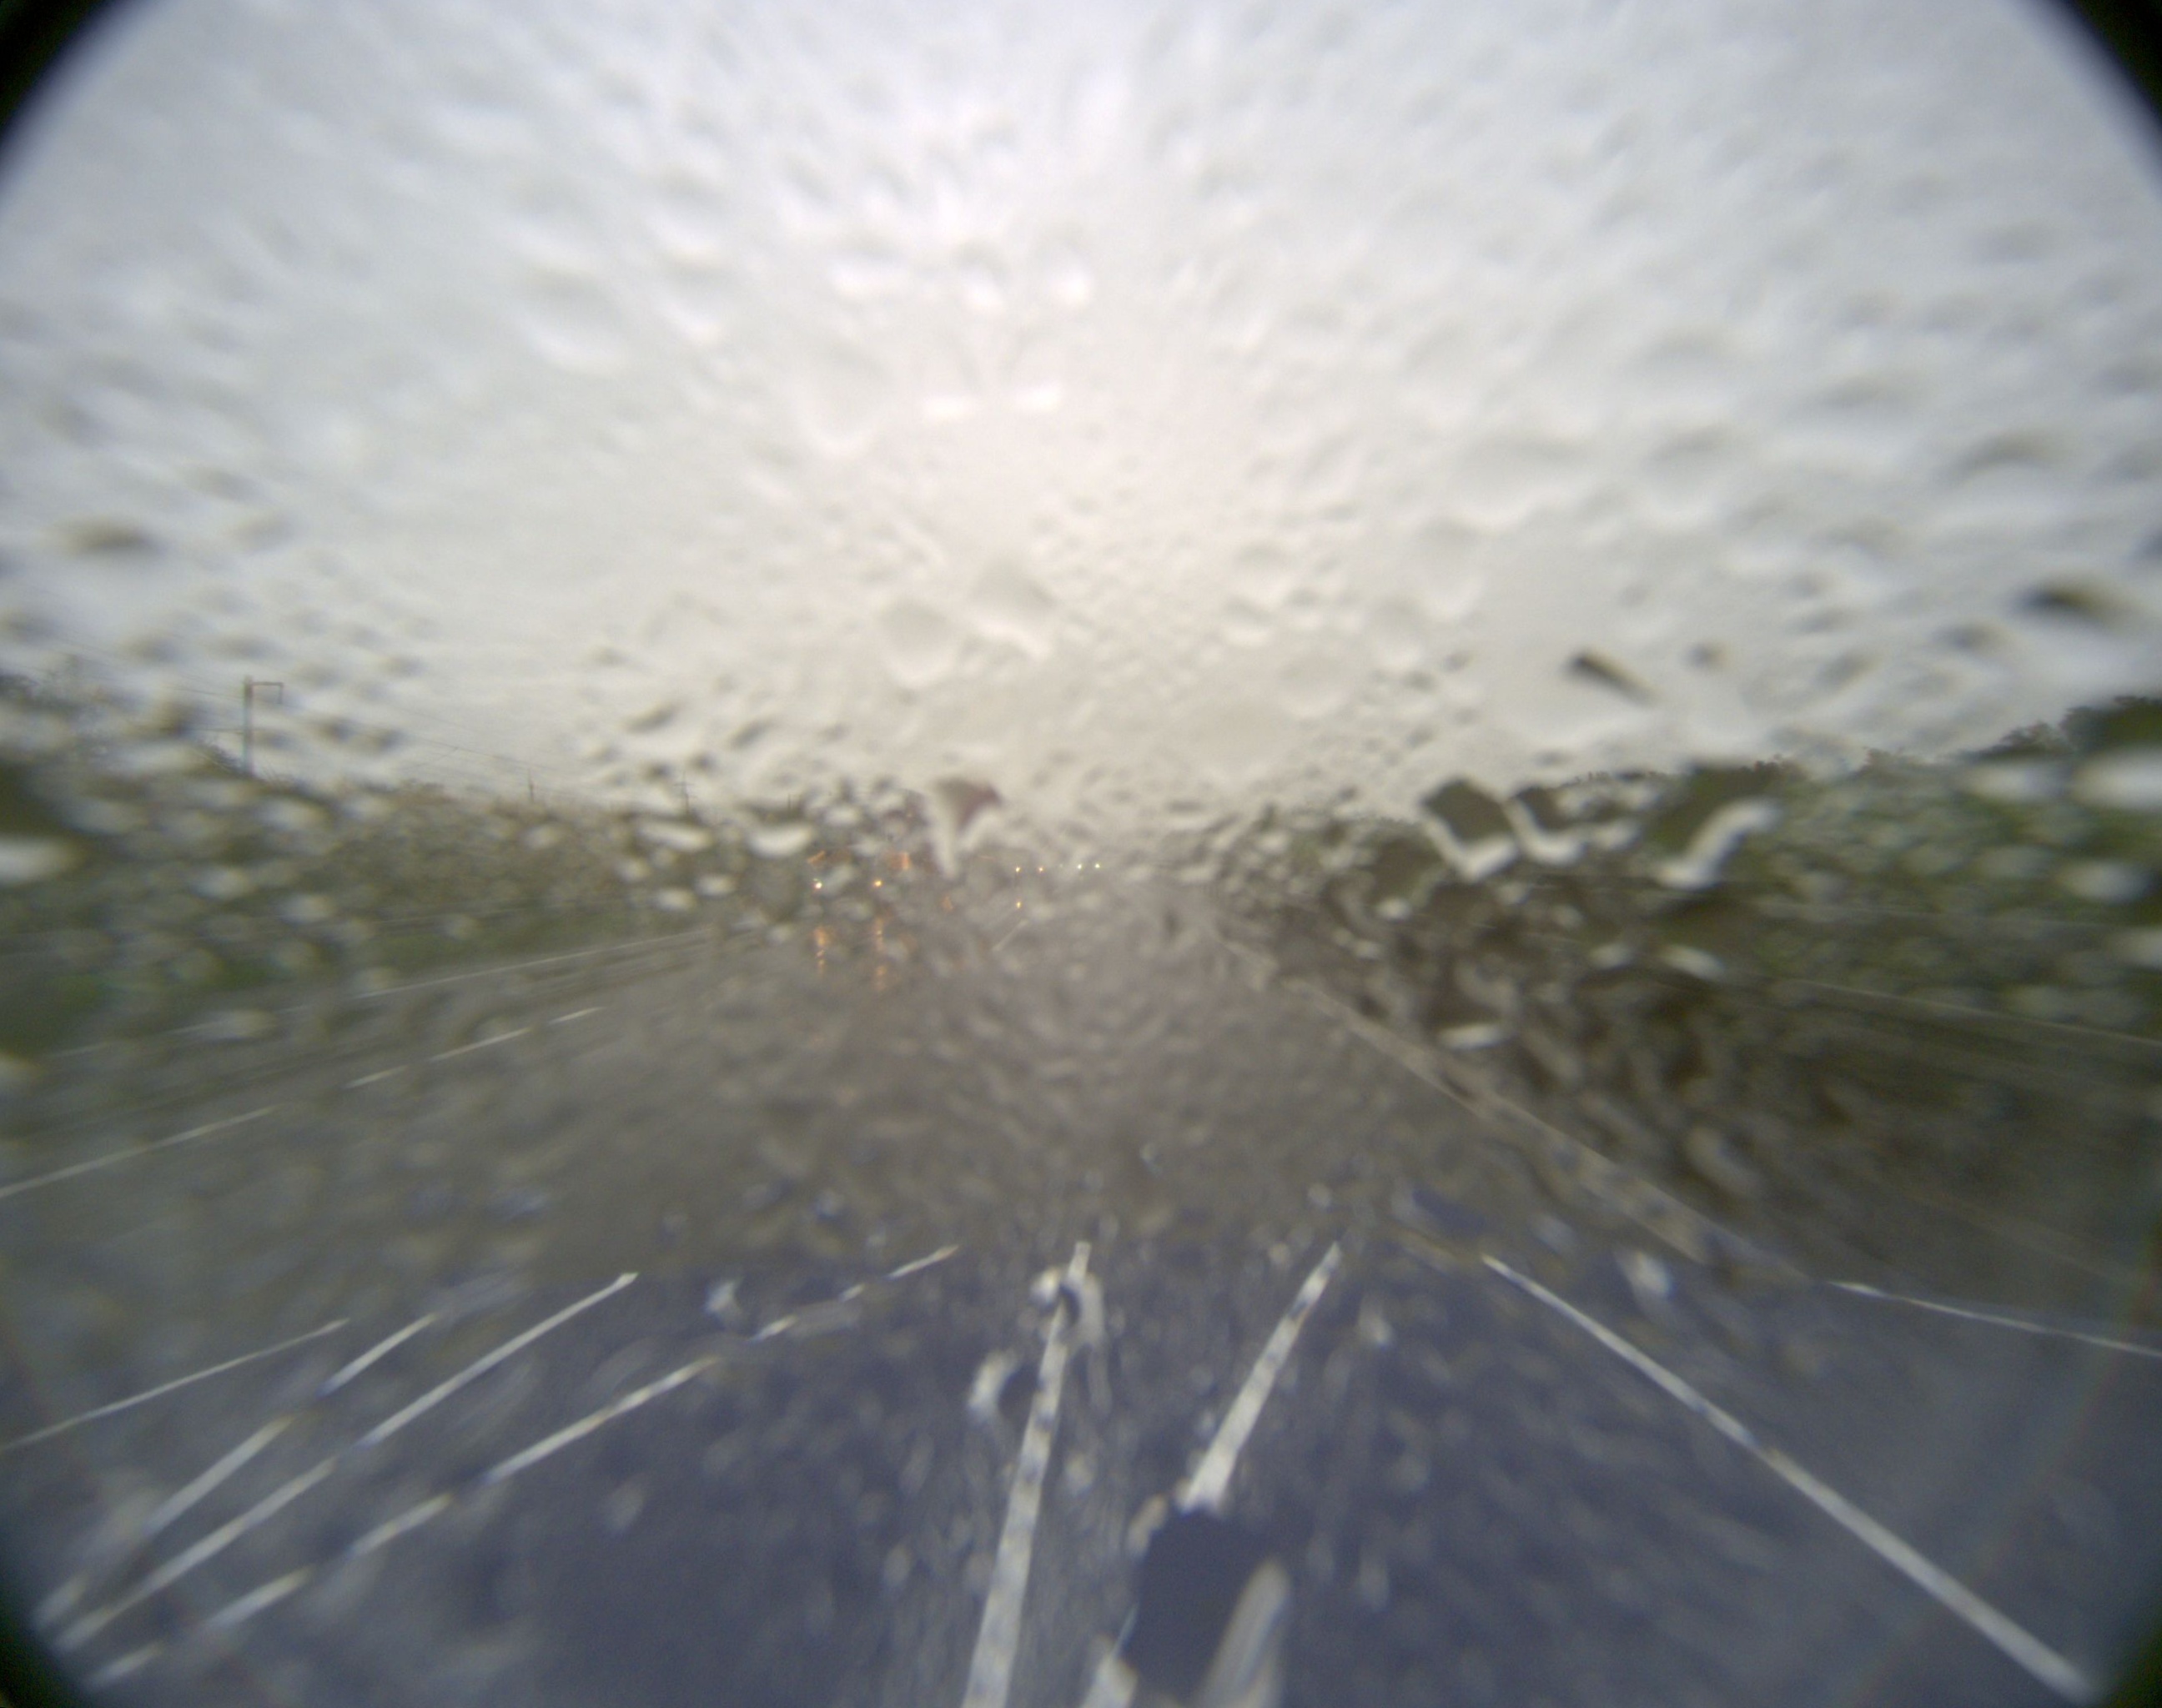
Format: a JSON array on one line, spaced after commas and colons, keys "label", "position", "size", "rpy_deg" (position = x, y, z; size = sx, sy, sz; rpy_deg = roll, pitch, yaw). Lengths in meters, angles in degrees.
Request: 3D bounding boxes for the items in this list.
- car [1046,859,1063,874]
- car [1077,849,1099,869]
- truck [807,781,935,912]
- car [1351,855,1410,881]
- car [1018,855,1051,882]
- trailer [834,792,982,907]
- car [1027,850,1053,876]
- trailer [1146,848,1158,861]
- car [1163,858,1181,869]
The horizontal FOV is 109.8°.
[{"label": "car", "position": [-3.135, 1.482, 90.507], "size": [1.845, 1.671, 4.000], "rpy_deg": [-2, 0, 0]}, {"label": "car", "position": [0.636, 0.451, 66.908], "size": [1.845, 1.671, 4.000], "rpy_deg": [-2, 0, 0]}, {"label": "truck", "position": [-6.949, -0.208, 26.086], "size": [2.457, 3.866, 6.199], "rpy_deg": [-2, 0, 1]}, {"label": "car", "position": [19.201, 0.878, 48.923], "size": [1.998, 1.503, 4.449], "rpy_deg": [-2, 0, 0]}, {"label": "car", "position": [-2.793, 0.838, 46.007], "size": [1.663, 1.491, 3.836], "rpy_deg": [-2, 0, 1]}, {"label": "trailer", "position": [-6.864, -0.139, 33.701], "size": [2.486, 3.743, 16.544], "rpy_deg": [-2, 0, 1]}, {"label": "car", "position": [-2.776, 0.592, 51.646], "size": [1.517, 1.606, 3.186], "rpy_deg": [-2, 0, 0]}, {"label": "trailer", "position": [22.537, 0.110, 241.492], "size": [2.640, 3.782, 13.585], "rpy_deg": [-2, 0, 1]}, {"label": "car", "position": [12.790, 1.318, 106.743], "size": [1.998, 1.425, 4.648], "rpy_deg": [-2, -1, 0]}]
